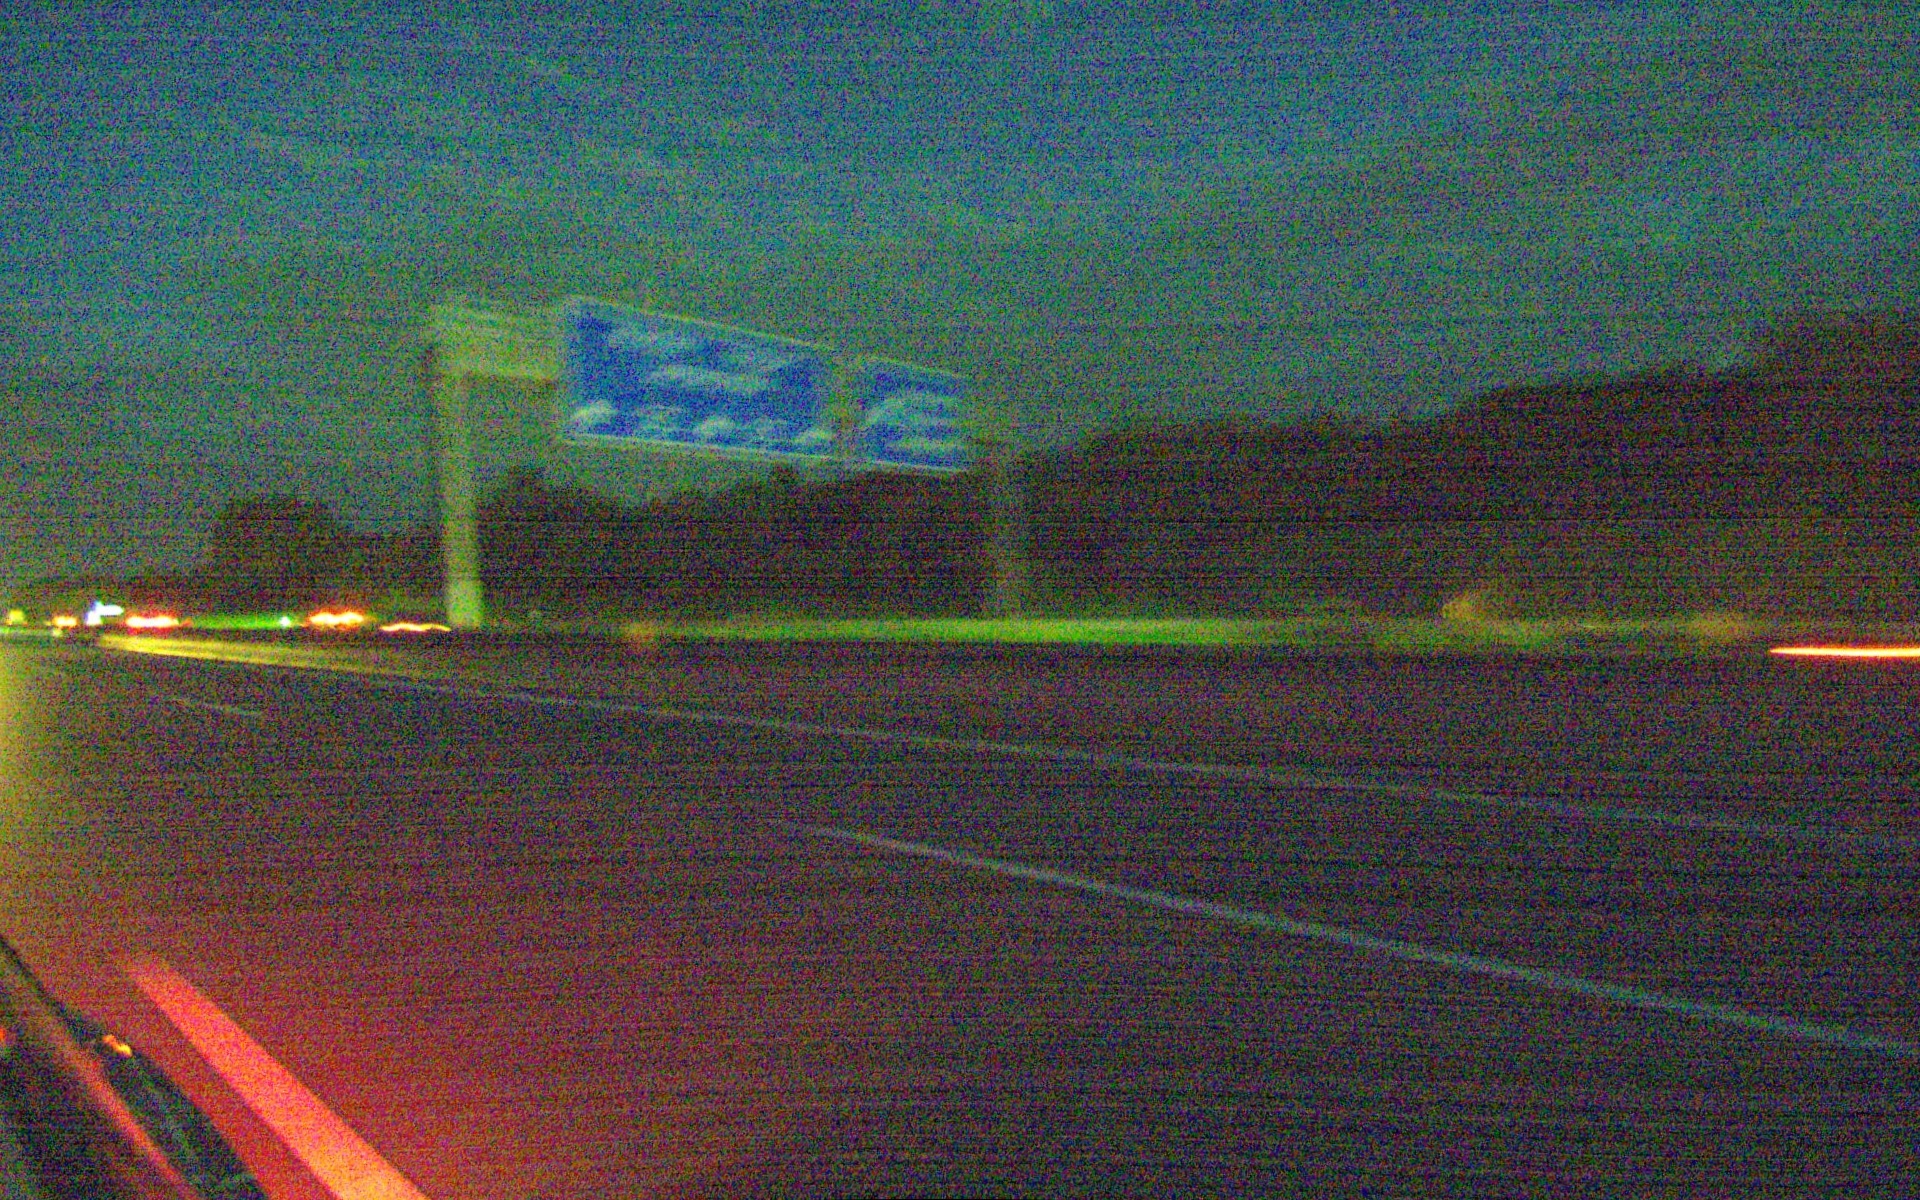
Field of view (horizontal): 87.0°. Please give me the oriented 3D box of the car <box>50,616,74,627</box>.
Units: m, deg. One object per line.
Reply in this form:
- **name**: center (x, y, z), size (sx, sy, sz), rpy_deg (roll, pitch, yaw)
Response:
- **car**: center (-129.478, 3.152, 145.886), size (3.996, 1.520, 1.974), rpy_deg (-1, 0, 40)

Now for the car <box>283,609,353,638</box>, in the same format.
- **car**: center (-36.049, 1.334, 56.745), size (5.183, 1.520, 1.973), rpy_deg (-2, 0, 42)

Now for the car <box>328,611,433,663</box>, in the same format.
- **car**: center (-21.296, 1.330, 37.109), size (4.657, 1.747, 1.973), rpy_deg (-2, 0, 42)

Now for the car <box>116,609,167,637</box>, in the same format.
- **car**: center (-55.425, 1.560, 68.509), size (4.657, 1.747, 1.973), rpy_deg (-2, 0, 42)

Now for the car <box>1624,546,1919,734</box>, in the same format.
- **car**: center (9.550, 0.359, 10.088), size (4.657, 1.747, 1.973), rpy_deg (-2, 0, 42)
